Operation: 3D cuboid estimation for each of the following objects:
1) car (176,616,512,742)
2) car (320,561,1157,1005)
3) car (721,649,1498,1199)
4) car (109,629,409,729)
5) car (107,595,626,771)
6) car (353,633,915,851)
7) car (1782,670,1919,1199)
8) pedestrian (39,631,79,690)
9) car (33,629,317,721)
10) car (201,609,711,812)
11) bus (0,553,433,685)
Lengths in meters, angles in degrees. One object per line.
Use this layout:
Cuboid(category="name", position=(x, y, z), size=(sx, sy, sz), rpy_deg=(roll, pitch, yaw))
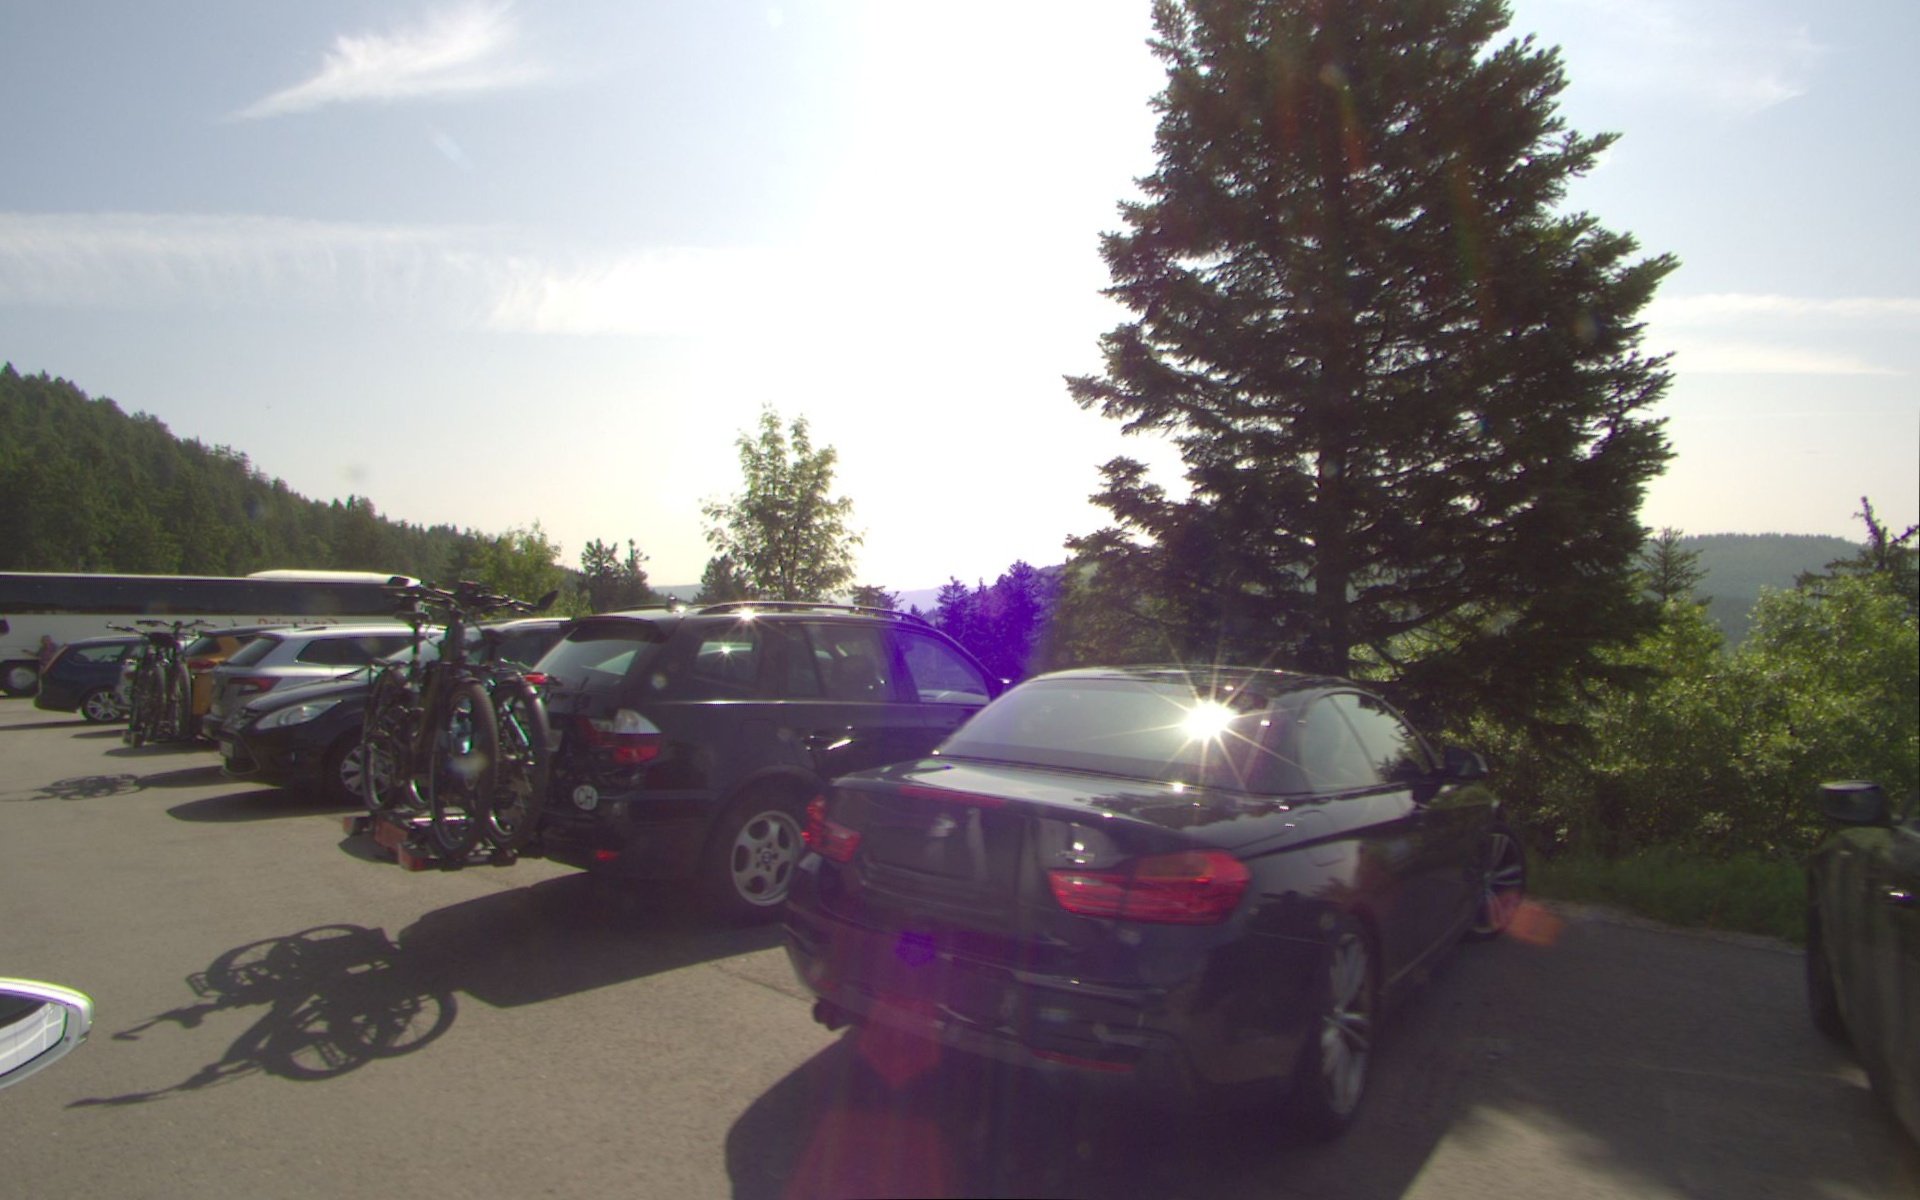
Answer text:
Cuboid(category="car", position=(-8.980, 1.048, 14.847), size=(1.642, 1.574, 3.965), rpy_deg=(-1, -1, 43))
Cuboid(category="car", position=(-0.955, 0.751, 6.316), size=(1.925, 1.717, 4.918), rpy_deg=(-1, -1, 45))
Cuboid(category="car", position=(1.105, 0.946, 4.415), size=(1.680, 1.393, 4.070), rpy_deg=(-1, -3, 36))
Cuboid(category="car", position=(-11.829, 1.246, 17.089), size=(1.603, 1.416, 3.965), rpy_deg=(-1, -1, 43))
Cuboid(category="car", position=(-6.818, 0.808, 12.007), size=(2.026, 1.672, 5.006), rpy_deg=(-1, -1, 43))
Cuboid(category="car", position=(-2.518, 0.970, 8.534), size=(1.818, 1.285, 4.220), rpy_deg=(-1, -1, 43))
Cuboid(category="car", position=(3.427, 0.907, 2.514), size=(1.679, 1.393, 4.074), rpy_deg=(-1, -3, 34))
Cuboid(category="pedestrian", position=(-25.092, 1.673, 27.883), size=(0.763, 1.606, 0.766), rpy_deg=(-1, 0, -39))
Cuboid(category="car", position=(-14.598, 1.308, 18.773), size=(1.841, 1.468, 3.965), rpy_deg=(-1, -1, 43))
Cuboid(category="car", position=(-4.822, 0.903, 10.048), size=(1.818, 1.574, 4.220), rpy_deg=(-1, -1, 43))
Cuboid(category="bus", position=(-23.742, 0.541, 30.849), size=(12.976, 3.579, 3.021), rpy_deg=(0, 0, -37))
